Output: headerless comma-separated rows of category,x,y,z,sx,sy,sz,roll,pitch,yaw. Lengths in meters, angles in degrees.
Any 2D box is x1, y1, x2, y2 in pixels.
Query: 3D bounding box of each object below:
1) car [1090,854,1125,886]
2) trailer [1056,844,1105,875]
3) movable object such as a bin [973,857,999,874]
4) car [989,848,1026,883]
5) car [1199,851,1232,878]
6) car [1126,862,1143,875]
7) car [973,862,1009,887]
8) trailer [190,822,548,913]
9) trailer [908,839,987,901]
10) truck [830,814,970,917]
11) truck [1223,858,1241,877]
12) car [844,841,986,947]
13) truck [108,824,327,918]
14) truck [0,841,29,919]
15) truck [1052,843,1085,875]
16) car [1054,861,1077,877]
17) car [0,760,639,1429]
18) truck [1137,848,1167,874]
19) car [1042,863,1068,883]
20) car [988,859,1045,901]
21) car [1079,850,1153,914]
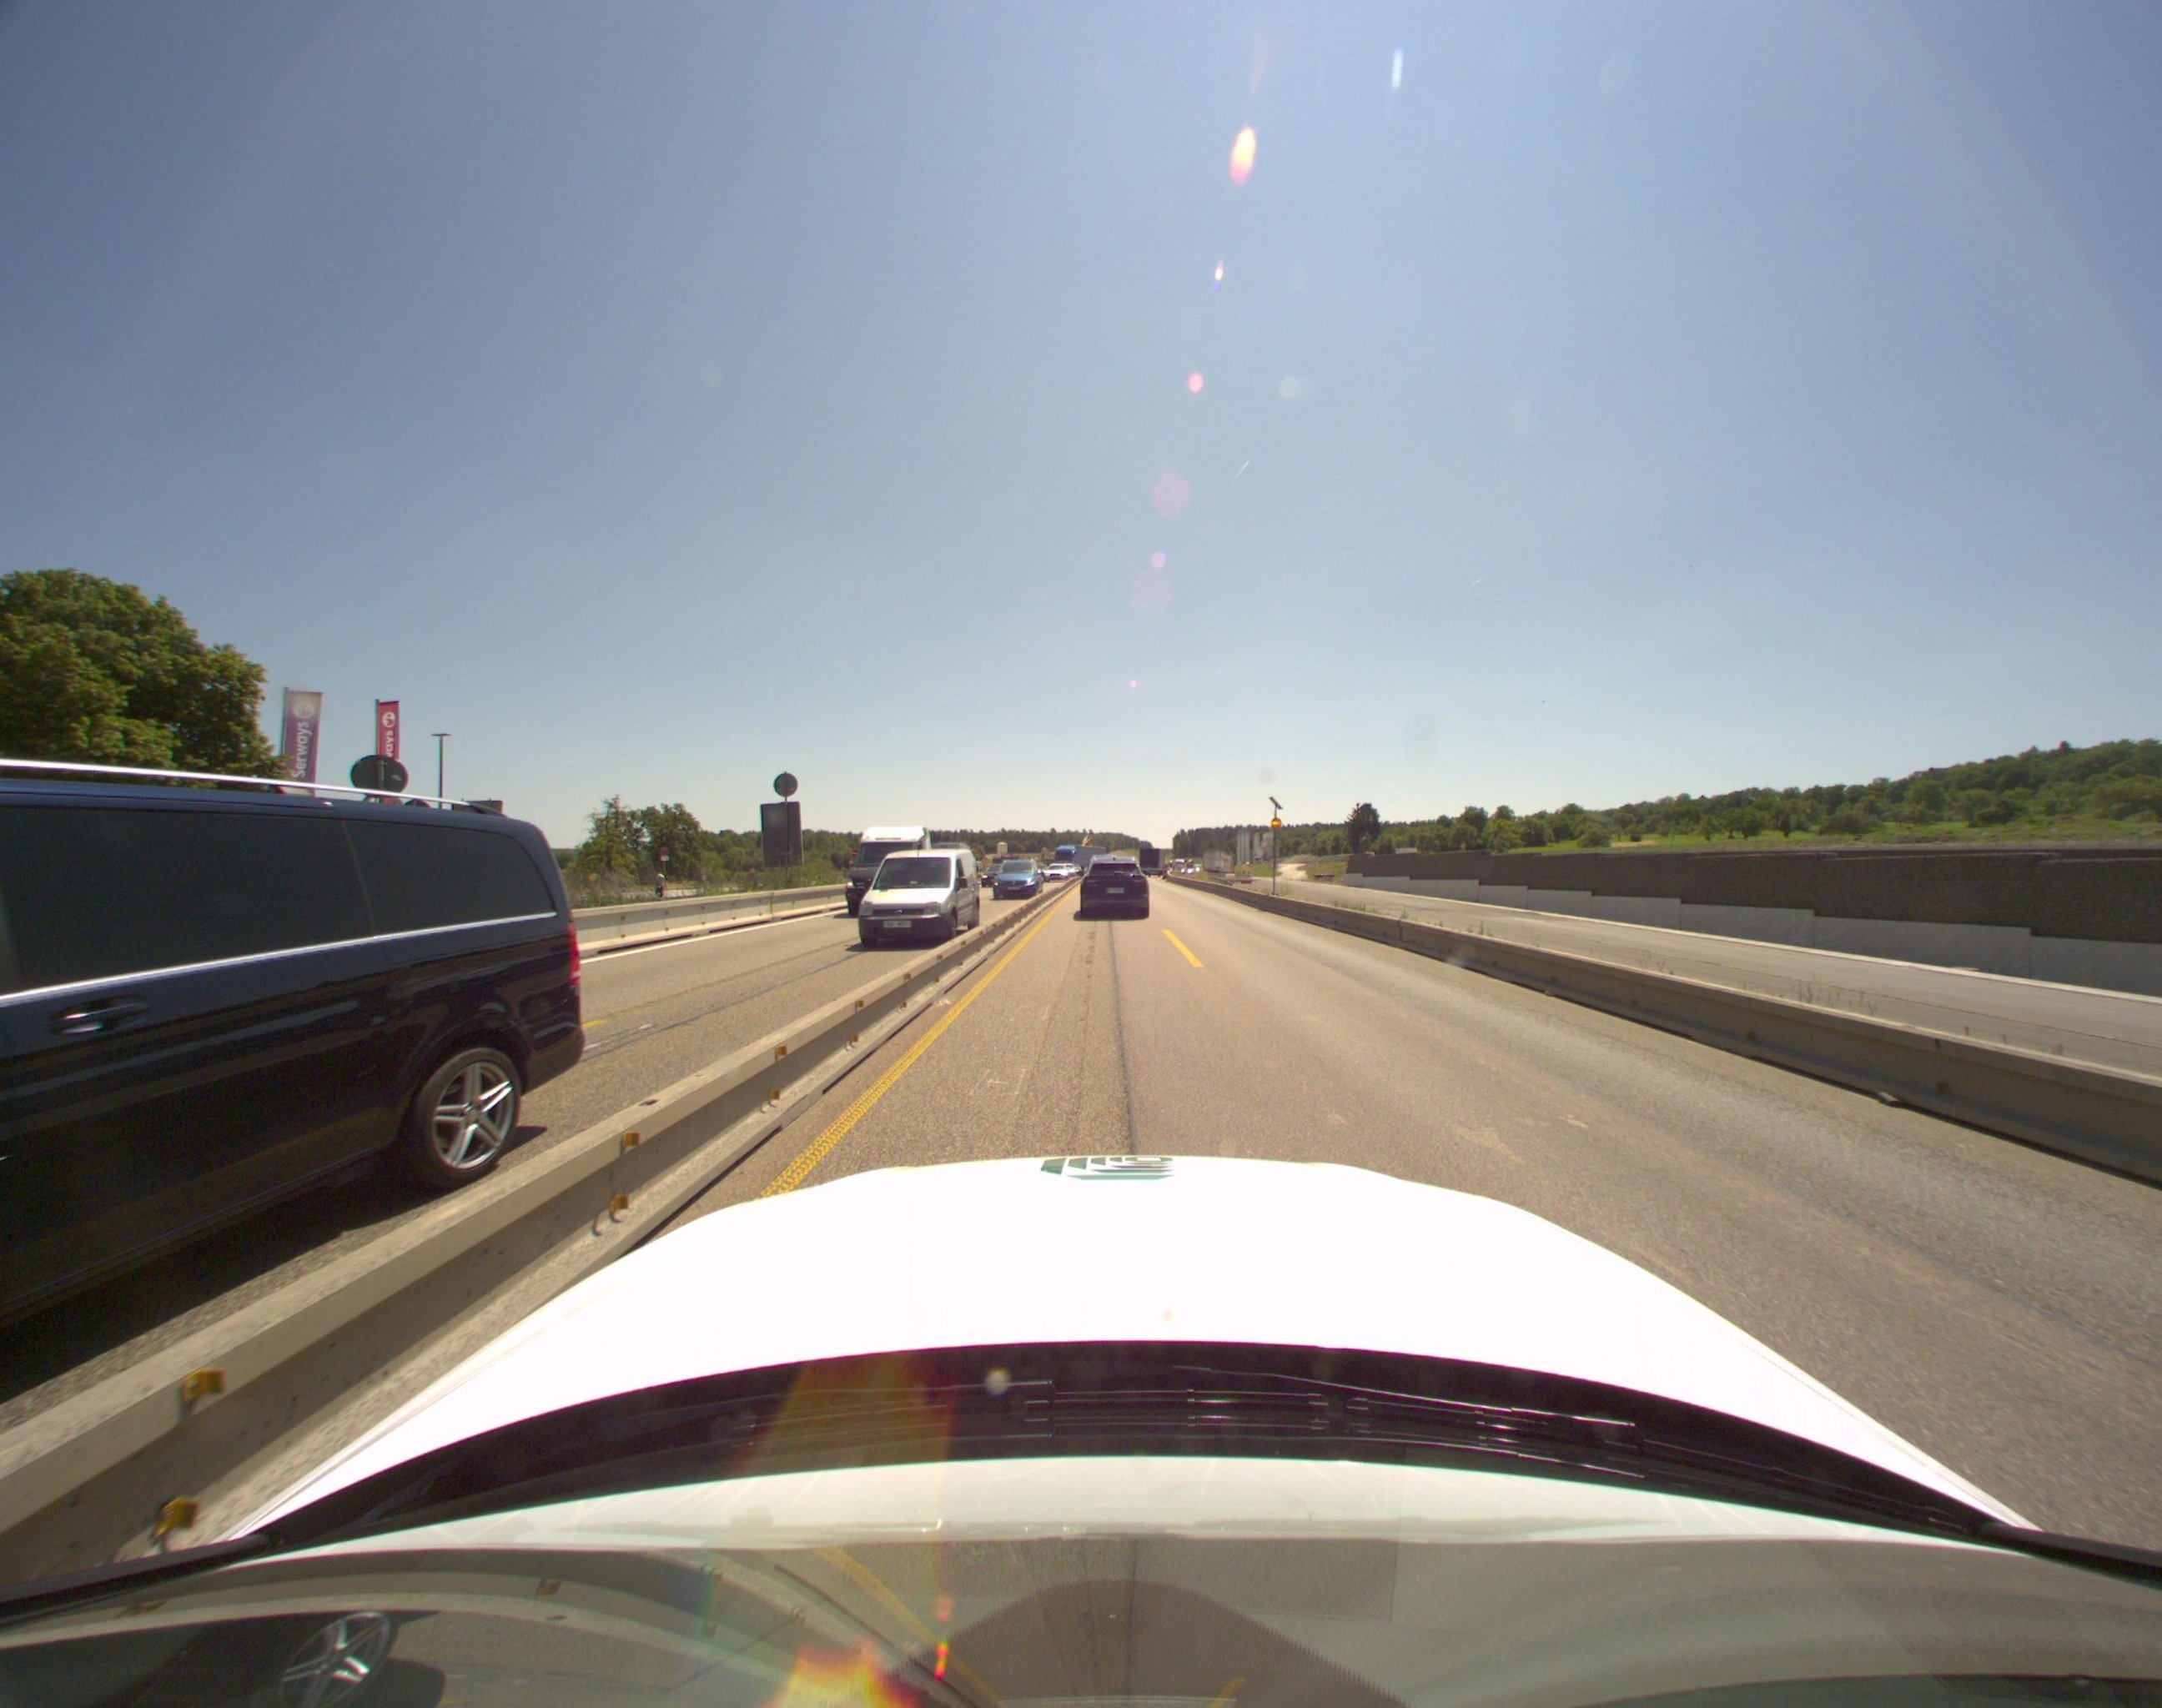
car,1.576,0.952,49.204,1.987,1.844,4.000,1,-1,0
trailer,0.101,0.827,115.757,2.891,4.129,13.978,0,-1,18
movable object such as a bin,-16.122,1.968,137.810,2.893,2.727,3.324,3,-1,-38
car,-5.320,0.805,59.553,1.907,2.399,6.453,-2,0,1
car,22.434,1.852,135.259,3.408,4.101,9.241,4,0,20
car,7.027,1.919,107.059,1.810,1.644,3.875,1,-1,9
car,-5.707,1.290,51.993,1.681,1.452,4.336,-1,0,1
trailer,-36.961,0.644,43.651,3.120,4.111,14.250,-2,-1,28
trailer,-5.396,0.612,33.712,2.174,2.314,5.616,-1,0,1
truck,-5.614,0.339,26.841,2.470,2.824,8.132,-2,0,2
truck,36.260,3.219,195.592,3.452,4.220,10.412,5,0,13
car,-3.187,0.686,16.627,1.847,1.839,4.592,-1,0,1
truck,-39.998,0.737,37.975,3.120,3.985,6.385,-2,-1,28
truck,-44.375,1.033,29.507,2.794,3.064,7.161,-1,-1,23
truck,-1.603,0.700,109.867,2.892,4.129,6.163,0,-1,15
car,-1.486,1.489,80.338,2.009,1.444,4.589,-1,0,1
car,-3.867,0.658,2.707,1.900,1.804,5.083,-1,0,1
truck,8.367,0.789,95.248,2.654,2.945,5.642,-1,0,14
car,-2.046,1.479,64.323,1.810,1.376,4.248,-2,0,1
car,-2.644,1.039,34.282,1.897,1.608,4.002,-1,0,2
car,0.960,0.786,22.547,1.835,1.582,4.001,-1,-2,2
